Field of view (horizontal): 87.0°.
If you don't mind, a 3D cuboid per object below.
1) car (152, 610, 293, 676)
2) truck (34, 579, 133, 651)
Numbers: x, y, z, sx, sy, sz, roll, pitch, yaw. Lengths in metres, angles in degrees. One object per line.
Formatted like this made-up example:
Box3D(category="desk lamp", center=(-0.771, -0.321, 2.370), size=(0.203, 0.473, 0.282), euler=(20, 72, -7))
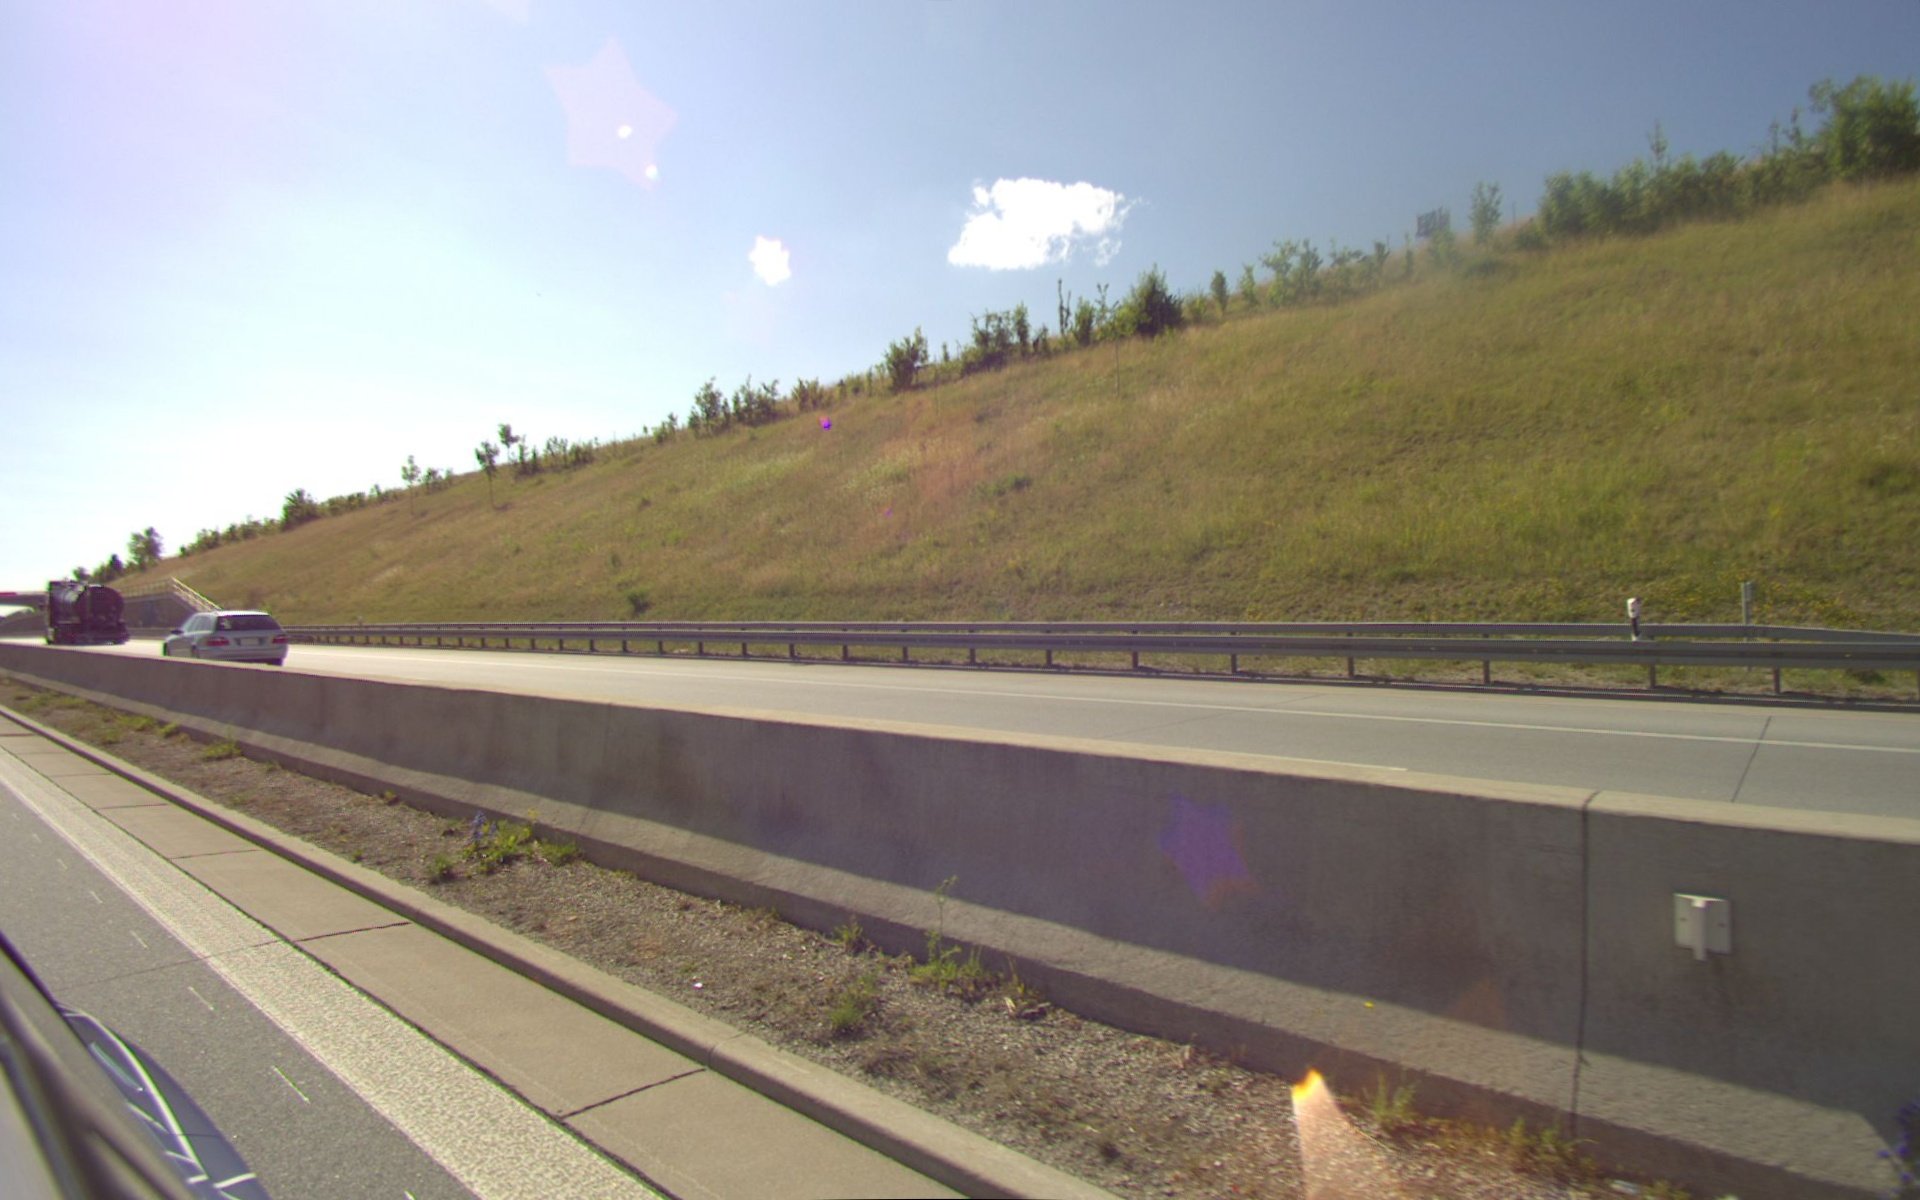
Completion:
Box3D(category="car", center=(-18.702, 1.044, 25.585), size=(4.725, 1.472, 1.835), euler=(-1, 0, 41))
Box3D(category="truck", center=(-52.947, 0.888, 60.934), size=(12.440, 3.971, 2.728), euler=(-1, 0, 41))
